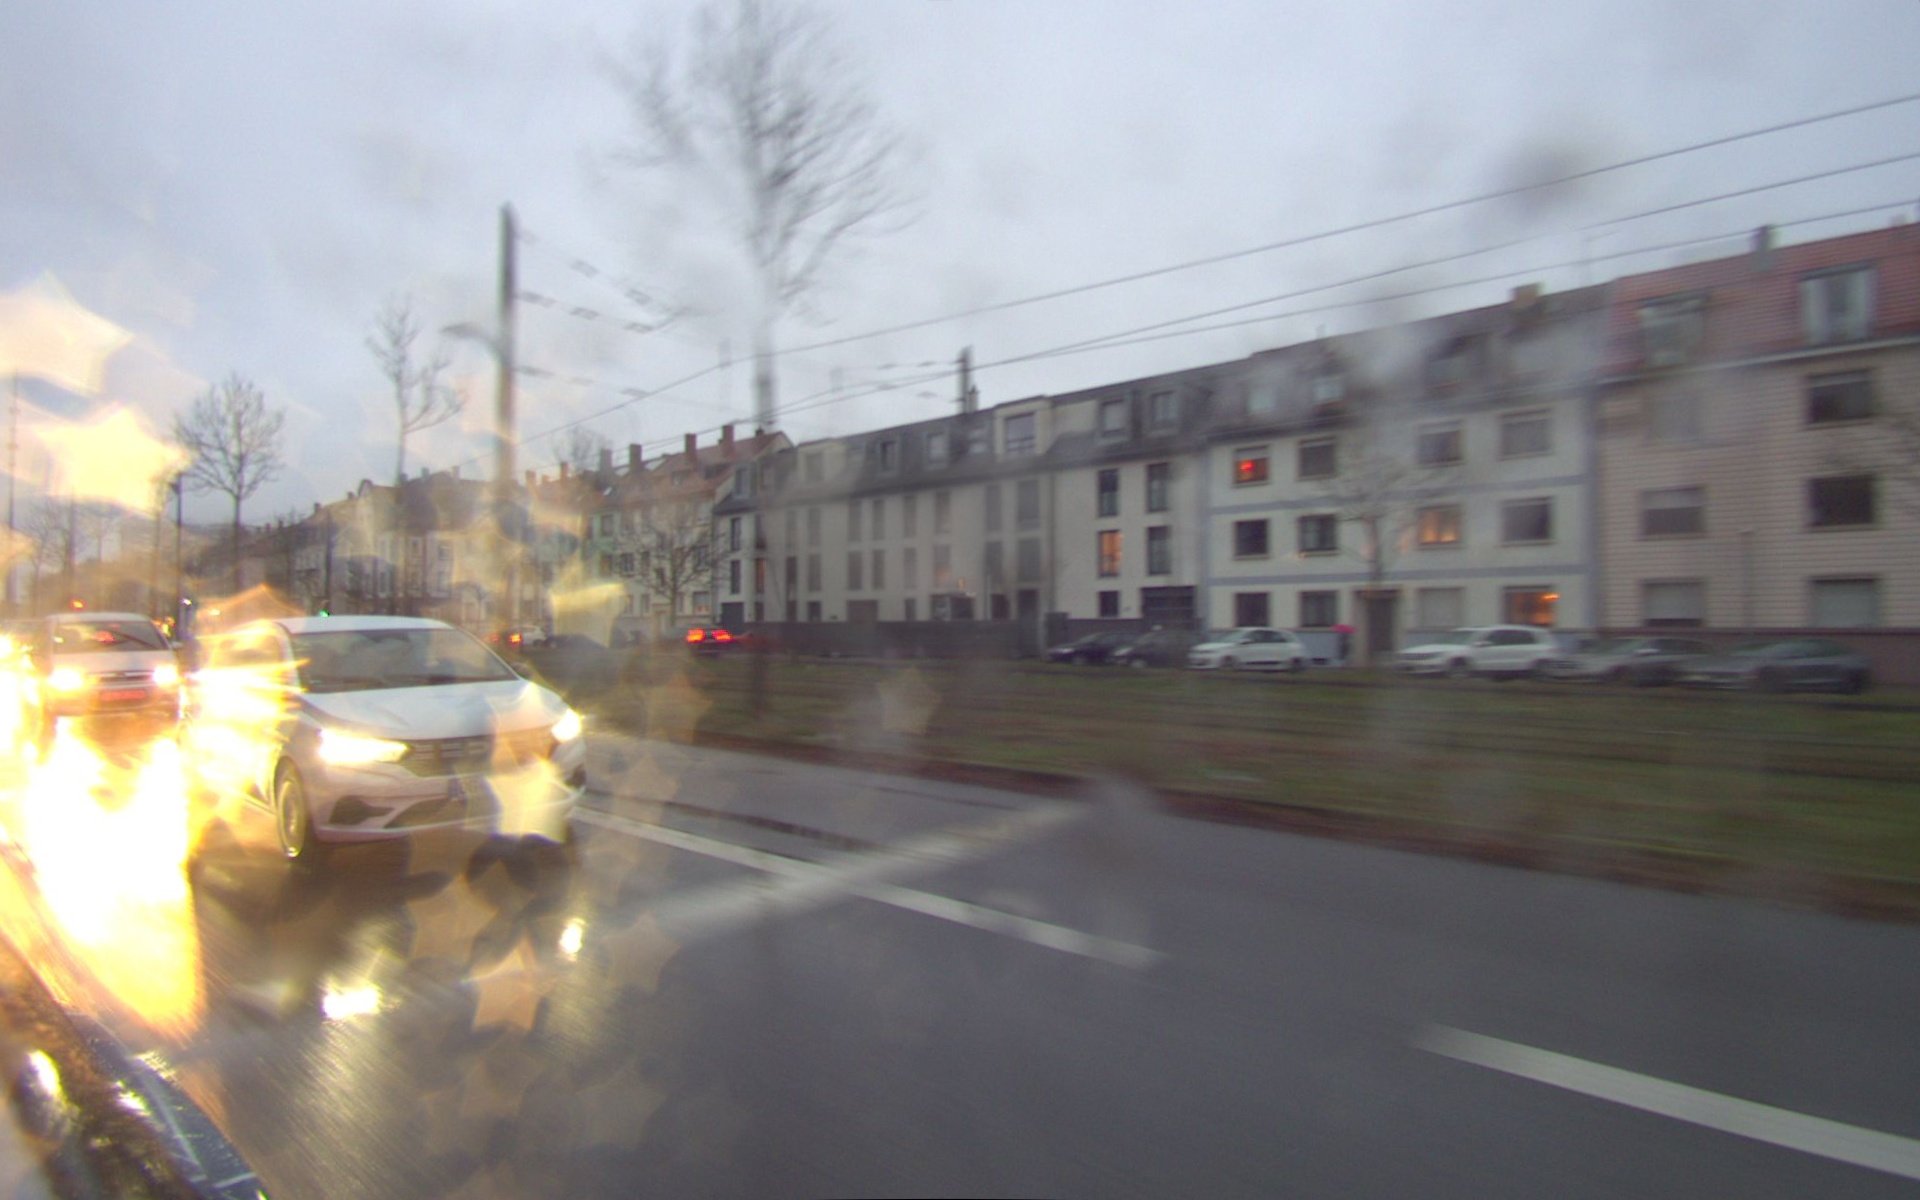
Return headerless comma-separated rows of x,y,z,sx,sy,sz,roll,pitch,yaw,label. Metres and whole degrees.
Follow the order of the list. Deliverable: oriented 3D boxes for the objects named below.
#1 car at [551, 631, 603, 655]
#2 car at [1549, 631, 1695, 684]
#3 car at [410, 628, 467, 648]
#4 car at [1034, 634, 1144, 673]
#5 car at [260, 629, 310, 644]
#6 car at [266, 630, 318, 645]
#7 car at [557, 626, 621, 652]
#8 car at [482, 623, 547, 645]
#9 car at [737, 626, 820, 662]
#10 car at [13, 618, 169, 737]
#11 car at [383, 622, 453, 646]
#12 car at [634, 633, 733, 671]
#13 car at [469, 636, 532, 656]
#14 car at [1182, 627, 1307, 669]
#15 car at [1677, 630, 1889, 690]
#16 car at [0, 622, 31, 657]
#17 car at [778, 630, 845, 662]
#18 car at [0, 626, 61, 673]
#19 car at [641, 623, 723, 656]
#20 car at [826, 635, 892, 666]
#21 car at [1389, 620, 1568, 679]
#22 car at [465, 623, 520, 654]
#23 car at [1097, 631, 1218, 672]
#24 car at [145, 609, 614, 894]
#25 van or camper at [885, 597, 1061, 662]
-23.753,2.644,62.853,2.887,1.346,1.742,-2,0,-16,car
16.381,1.396,25.071,2.993,1.156,1.401,-1,0,-17,car
-38.877,2.846,75.534,3.519,1.319,1.691,-2,0,-18,car
4.601,1.886,36.261,3.480,1.221,1.753,-1,0,-17,car
-69.182,3.707,103.729,3.978,1.239,1.352,-3,2,-12,car
-67.091,3.737,101.690,4.040,1.169,1.715,-3,2,-9,car
-22.075,2.319,60.296,3.331,1.432,1.673,-1,0,-9,car
-29.395,2.250,66.897,3.778,1.255,1.743,-2,0,-18,car
-8.942,2.139,49.757,3.784,1.600,1.747,-1,0,-16,car
-13.271,1.073,15.387,1.614,1.531,3.911,-1,-1,-43,car
-42.816,2.684,80.041,4.581,1.736,1.838,-2,0,-14,car
-12.203,2.236,44.564,4.788,1.514,1.861,-2,-1,41,car
-31.309,3.111,69.066,3.755,1.181,1.743,-2,0,-20,car
8.914,1.486,31.783,3.360,1.156,1.696,-1,0,-17,car
18.572,1.314,22.864,4.118,1.124,1.686,-1,0,-17,car
-43.469,1.791,45.889,3.436,1.498,1.667,-2,-1,43,car
-6.897,2.131,47.153,3.049,1.312,1.390,-1,0,-7,car
-32.294,1.665,34.734,3.656,1.495,1.879,-2,-1,44,car
-14.650,2.071,53.558,4.094,1.552,1.674,-1,0,-12,car
-4.481,2.219,44.646,2.843,1.213,1.390,-1,0,-7,car
14.039,1.310,27.479,4.056,1.389,1.777,-1,0,-11,car
-26.499,2.172,57.330,3.508,1.635,1.596,-2,-1,42,car
6.633,1.707,34.065,3.480,1.209,1.888,-1,0,-17,car
-4.350,0.855,7.317,3.998,1.485,1.671,-2,-1,40,car
0.529,1.154,40.919,6.765,2.378,2.005,-1,0,-14,van or camper
